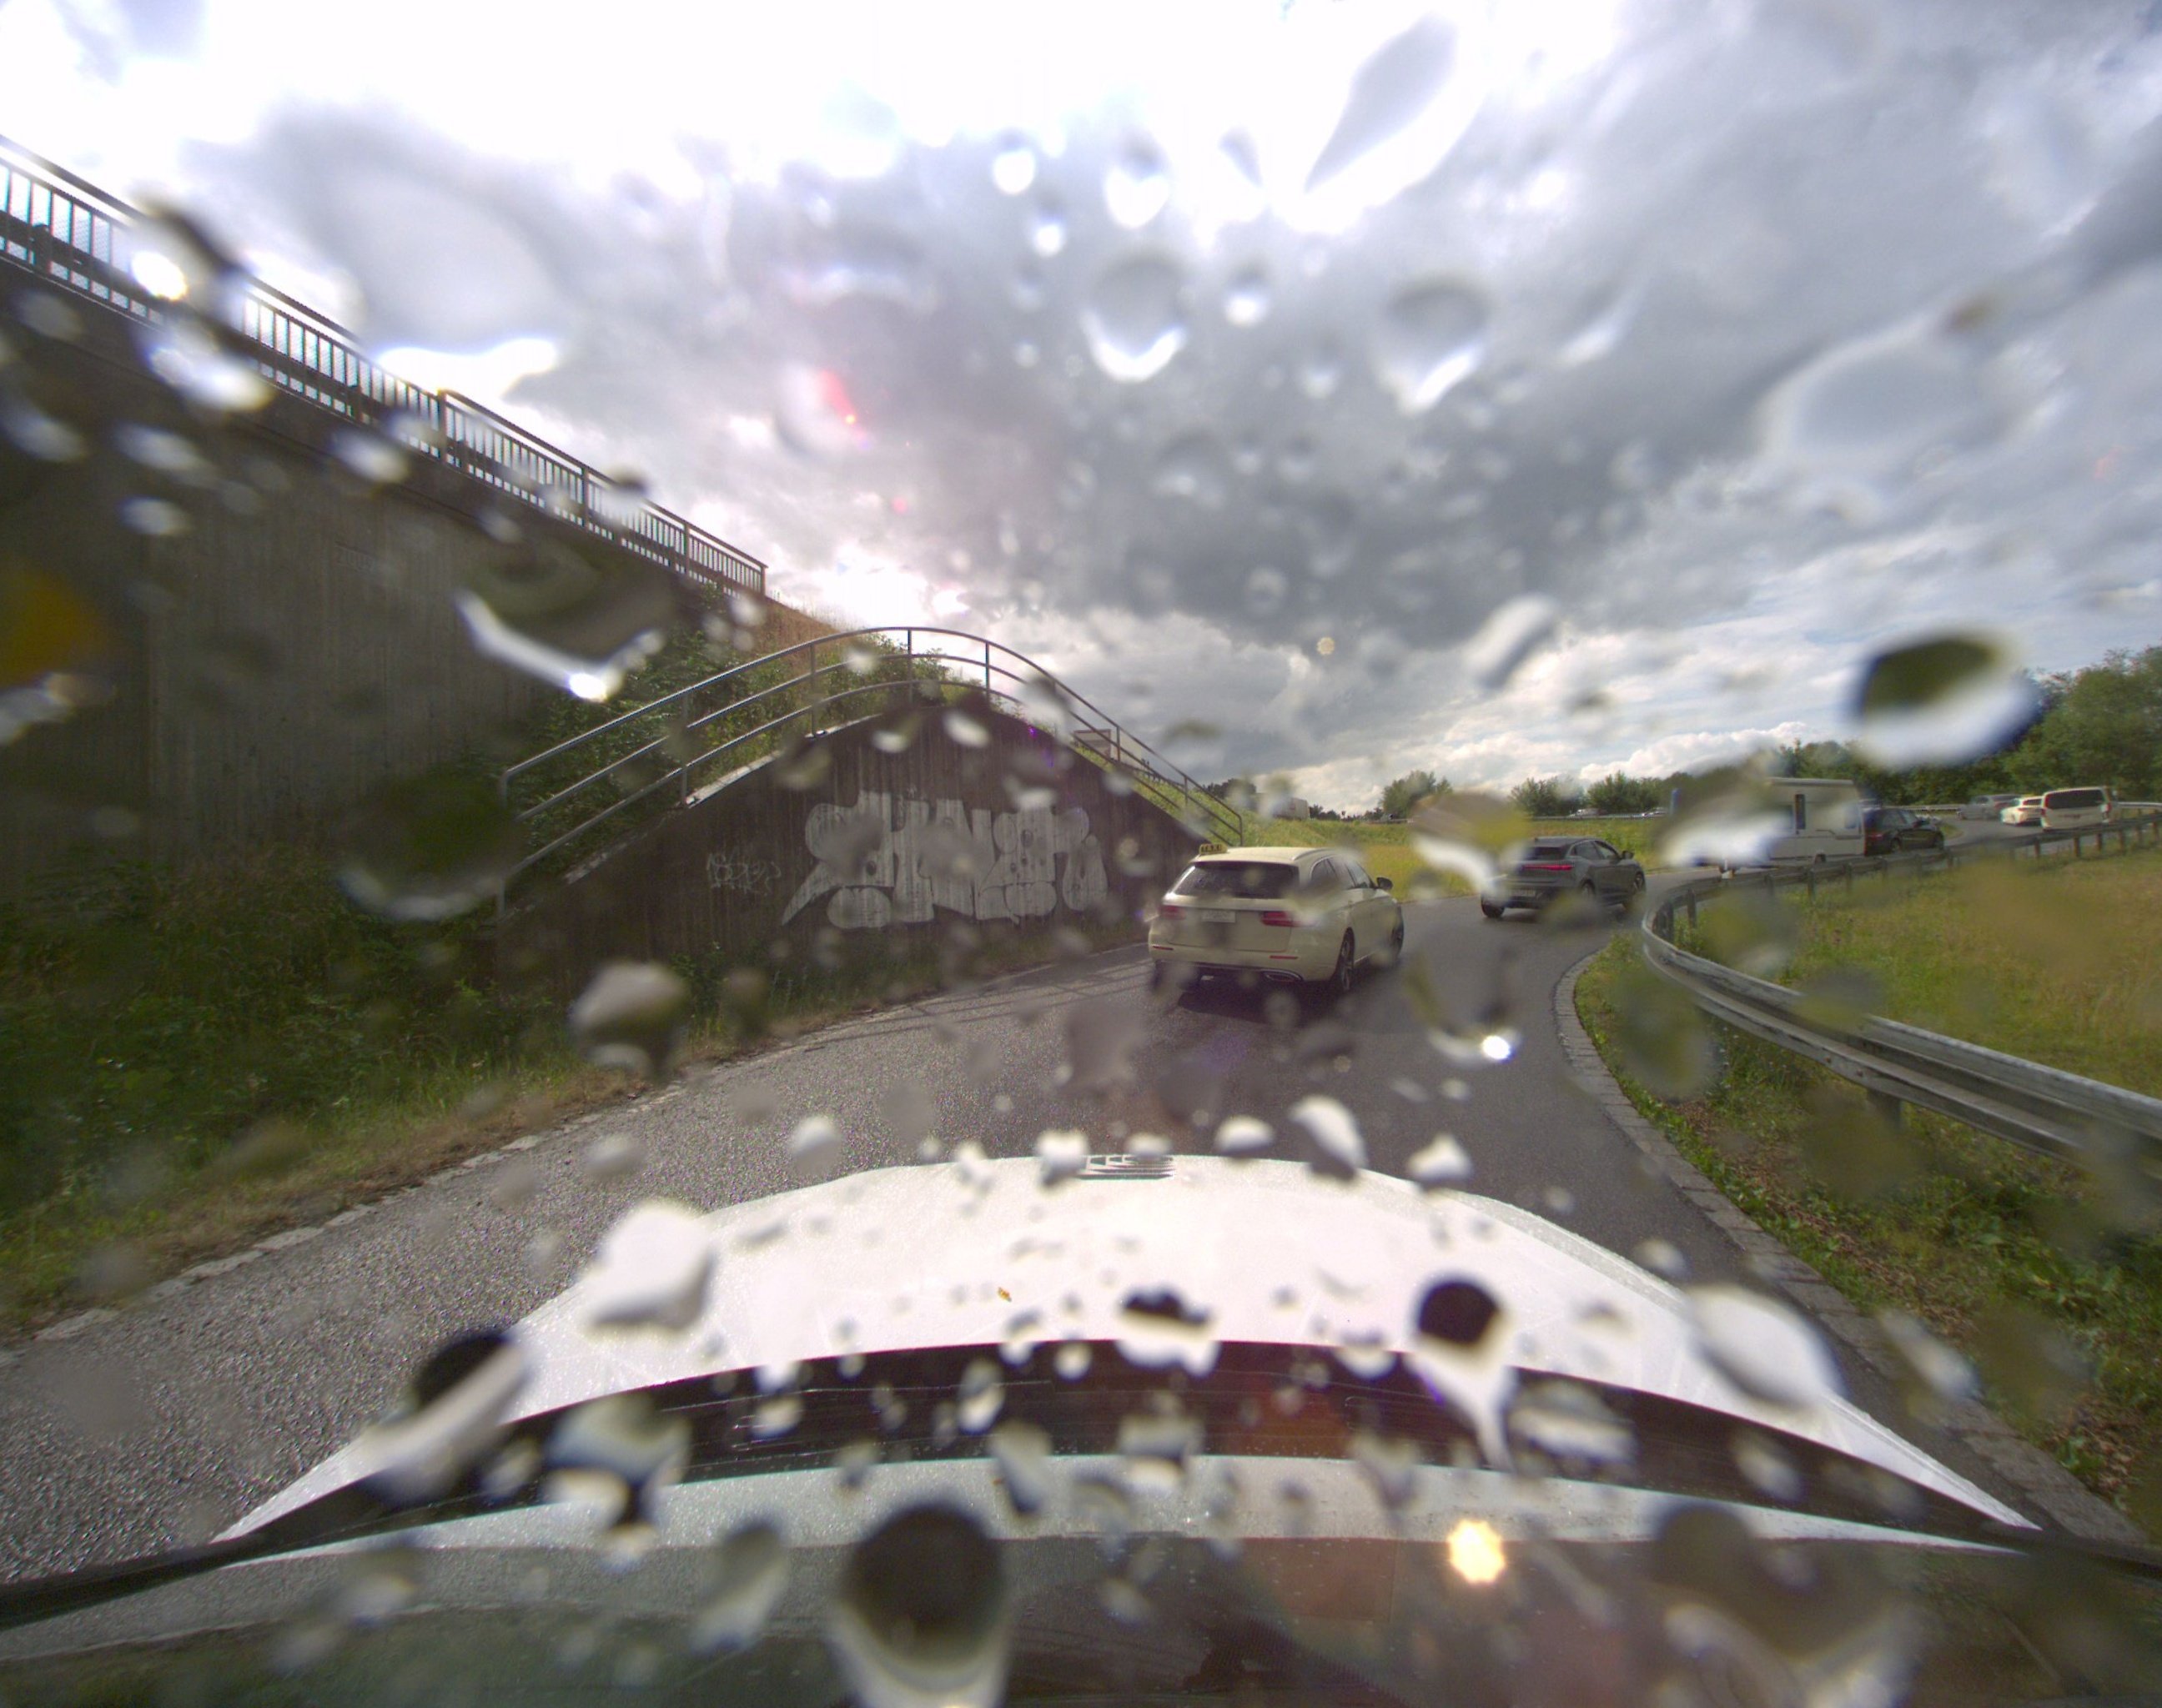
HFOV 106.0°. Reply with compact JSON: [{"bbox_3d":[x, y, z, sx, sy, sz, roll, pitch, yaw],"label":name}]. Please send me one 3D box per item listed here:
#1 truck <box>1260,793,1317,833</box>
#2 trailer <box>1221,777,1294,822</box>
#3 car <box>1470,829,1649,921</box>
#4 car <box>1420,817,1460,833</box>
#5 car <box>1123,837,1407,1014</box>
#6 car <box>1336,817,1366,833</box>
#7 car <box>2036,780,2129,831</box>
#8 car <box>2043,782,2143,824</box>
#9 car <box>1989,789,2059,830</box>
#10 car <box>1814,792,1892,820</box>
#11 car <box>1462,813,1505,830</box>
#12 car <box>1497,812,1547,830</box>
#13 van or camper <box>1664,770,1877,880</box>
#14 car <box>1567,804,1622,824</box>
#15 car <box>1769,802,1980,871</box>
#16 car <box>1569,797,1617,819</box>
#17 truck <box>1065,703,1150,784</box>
[{"bbox_3d":[30.967,-5.793,120.440,4.419,4.503,19.486,-1,-2,25],"label":"truck"},{"bbox_3d":[22.623,-6.596,102.728,4.373,3.956,20.333,-1,-2,25],"label":"trailer"},{"bbox_3d":[9.218,0.317,15.573,4.021,1.525,1.703,-2,0,-40],"label":"car"},{"bbox_3d":[49.684,-3.982,112.890,2.002,1.861,5.018,-2,-1,-23],"label":"car"},{"bbox_3d":[2.403,0.591,9.456,1.898,1.507,4.625,-2,0,30],"label":"car"},{"bbox_3d":[38.601,-4.109,116.367,3.954,2.014,1.836,-1,-2,20],"label":"car"},{"bbox_3d":[41.638,-1.962,33.842,5.078,1.861,1.979,-2,-1,-35],"label":"car"},{"bbox_3d":[53.099,-2.601,42.850,1.974,1.861,5.090,-3,-1,36],"label":"car"},{"bbox_3d":[49.059,-2.267,42.451,5.087,1.861,1.975,-1,-1,-45],"label":"car"},{"bbox_3d":[60.058,-3.709,63.461,1.652,1.784,5.066,-2,-1,7],"label":"car"},{"bbox_3d":[51.588,-4.175,104.478,2.010,1.861,4.458,-1,-1,-39],"label":"car"},{"bbox_3d":[53.498,-4.035,98.833,2.007,1.861,5.007,-2,-1,-31],"label":"car"},{"bbox_3d":[19.244,-0.809,22.672,6.015,2.729,2.417,-2,1,-27],"label":"van or camper"},{"bbox_3d":[57.737,-4.453,91.672,2.000,1.861,5.023,-2,-1,-19],"label":"car"},{"bbox_3d":[24.326,-0.564,24.981,5.761,1.925,2.420,-1,1,-20],"label":"car"},{"bbox_3d":[57.249,-5.071,91.073,2.006,2.014,3.961,0,-3,-30],"label":"car"},{"bbox_3d":[1.999,-7.308,55.514,3.154,3.966,9.281,-1,-2,19],"label":"truck"}]
